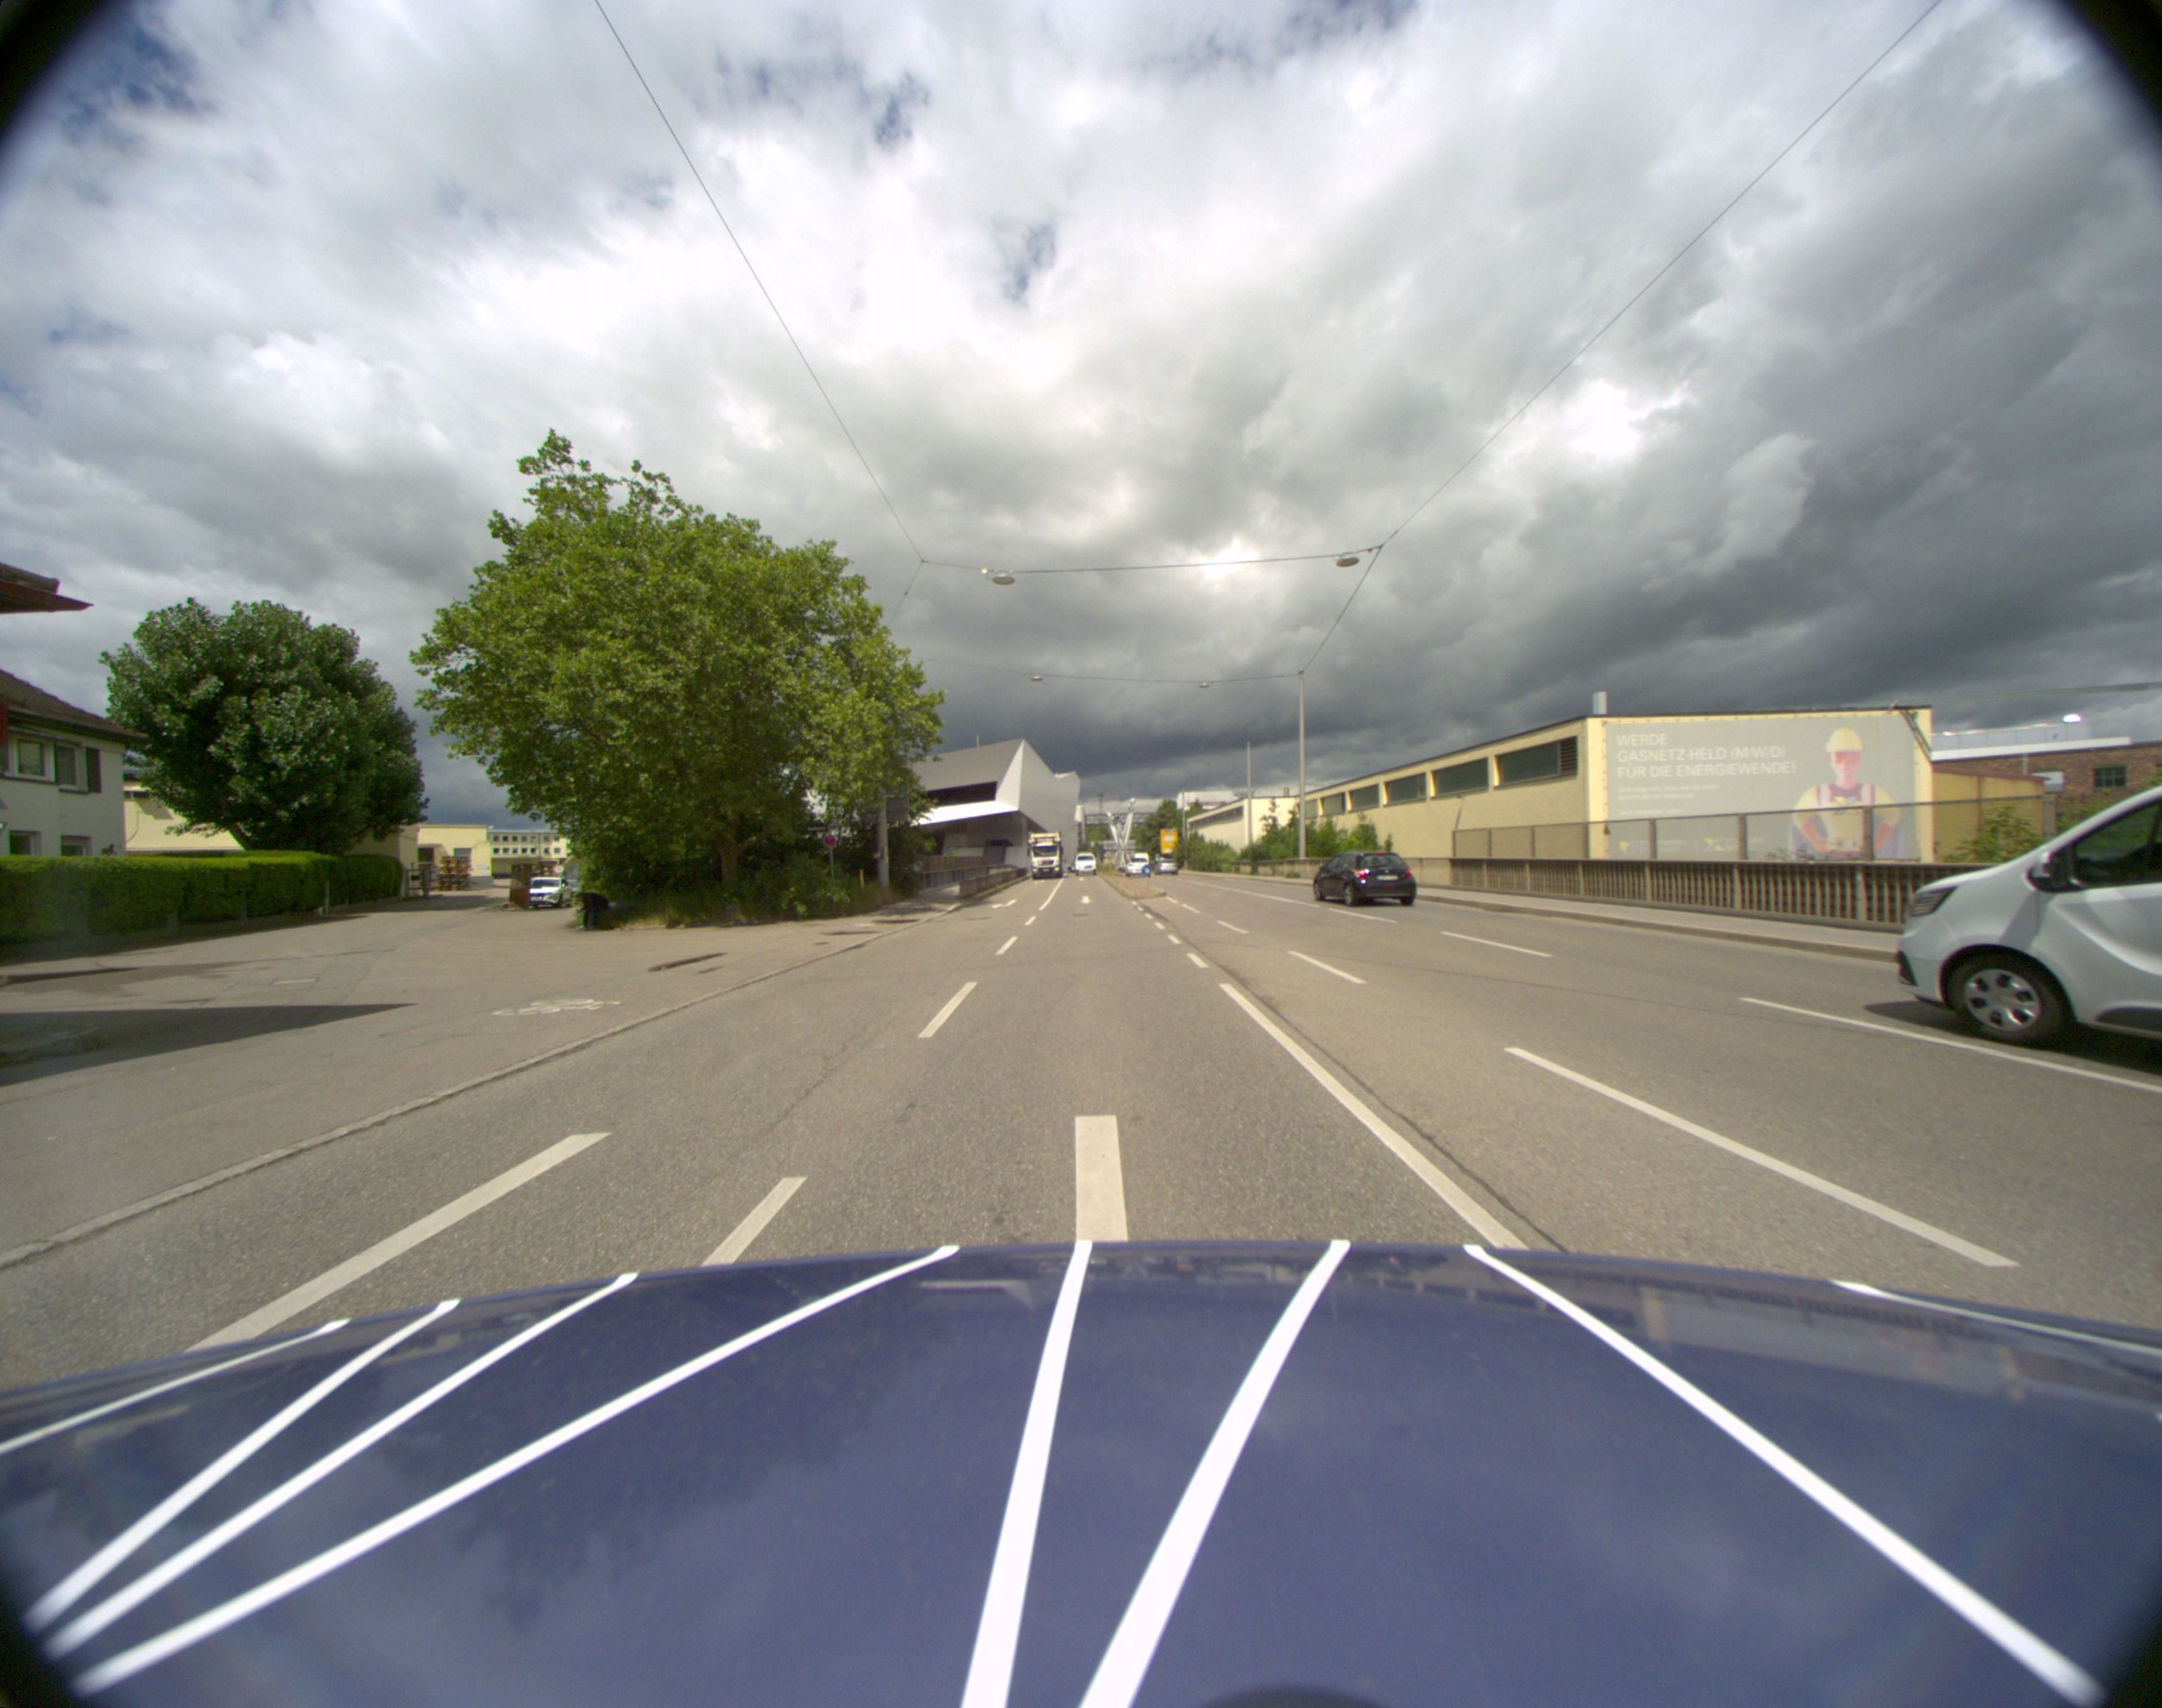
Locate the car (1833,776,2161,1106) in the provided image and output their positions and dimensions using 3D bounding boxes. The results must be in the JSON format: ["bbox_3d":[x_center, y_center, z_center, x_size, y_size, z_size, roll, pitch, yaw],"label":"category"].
[{"bbox_3d":[7.486,0.500,3.759,1.896,2.002,5.649,-2,0,0],"label":"car"}]

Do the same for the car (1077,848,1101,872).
[{"bbox_3d":[0.733,0.544,69.578,1.935,2.078,4.208,-2,0,3],"label":"car"}]

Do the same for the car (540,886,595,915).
[{"bbox_3d":[-30.847,2.778,45.770,2.003,1.499,3.991,2,0,-23],"label":"car"}]

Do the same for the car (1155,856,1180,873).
[{"bbox_3d":[7.664,0.902,67.626,1.612,1.404,3.799,-2,0,-1],"label":"car"}]

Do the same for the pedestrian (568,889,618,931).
[{"bbox_3d":[-15.449,1.763,24.056,0.884,1.241,0.967,-2,1,29],"label":"pedestrian"}]

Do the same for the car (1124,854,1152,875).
[{"bbox_3d":[4.503,0.791,60.286,1.806,1.543,3.770,-2,0,-1],"label":"car"}]

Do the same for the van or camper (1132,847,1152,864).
[{"bbox_3d":[8.190,0.213,102.398,2.164,2.108,5.470,-2,0,-1],"label":"van or camper"}]

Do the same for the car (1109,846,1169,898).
[{"bbox_3d":[2.115,0.609,28.613,1.870,1.782,4.207,-1,0,0],"label":"car"}]

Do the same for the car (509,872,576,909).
[{"bbox_3d":[-28.229,1.867,40.001,2.003,1.709,4.104,2,0,-23],"label":"car"}]

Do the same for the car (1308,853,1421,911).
[{"bbox_3d":[7.700,0.700,21.016,1.612,1.404,3.799,-2,0,-1],"label":"car"}]

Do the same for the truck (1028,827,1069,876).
[{"bbox_3d":[-2.663,-0.190,65.982,2.836,3.889,10.367,0,0,1],"label":"truck"}]
